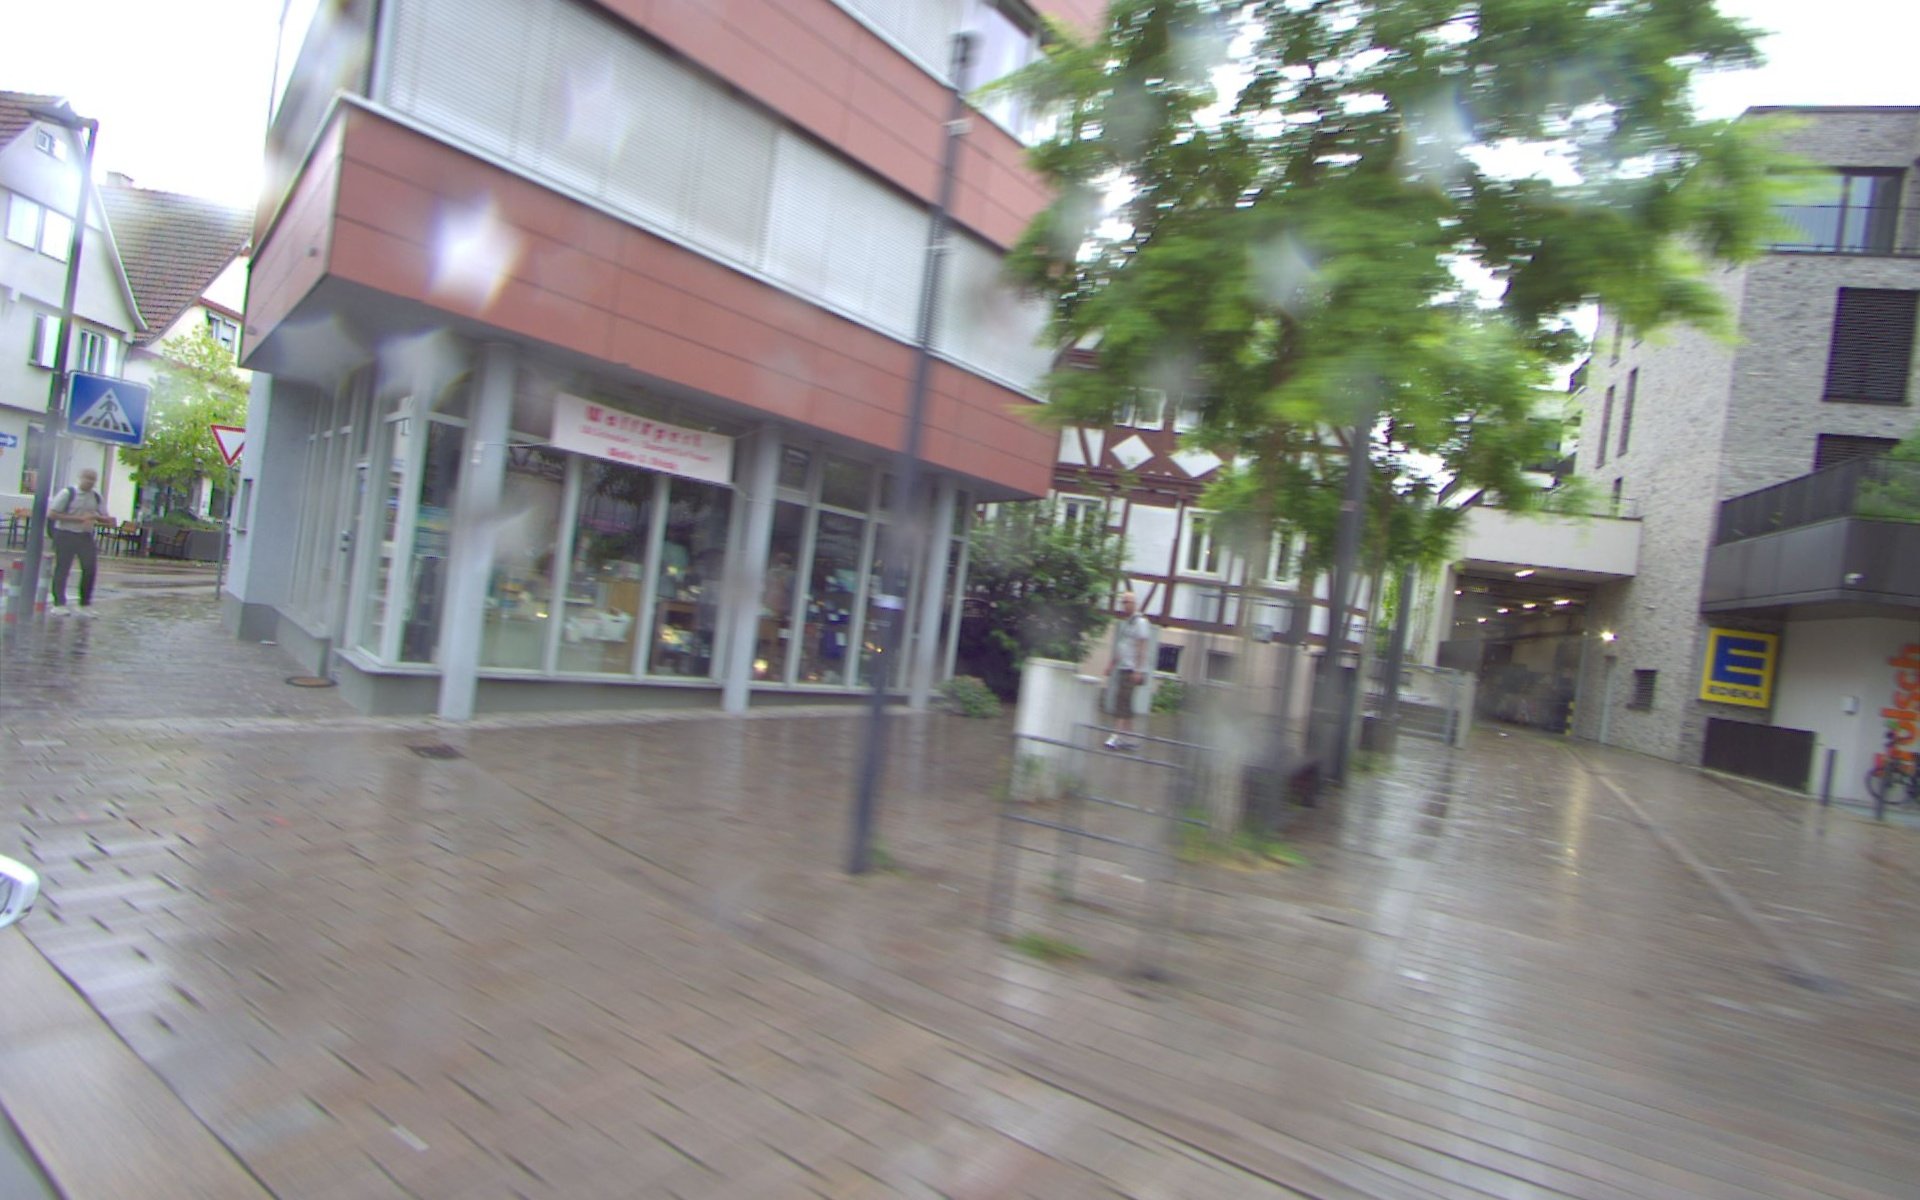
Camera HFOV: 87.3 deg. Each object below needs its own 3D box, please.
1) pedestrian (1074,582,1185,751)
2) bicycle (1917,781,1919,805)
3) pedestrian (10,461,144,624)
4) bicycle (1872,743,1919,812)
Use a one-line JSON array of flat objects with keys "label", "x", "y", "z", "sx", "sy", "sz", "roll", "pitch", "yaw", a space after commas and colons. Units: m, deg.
[{"label": "pedestrian", "x": 1.941, "y": 0.755, "z": 11.514, "sx": 0.842, "sy": 1.808, "sz": 0.699, "roll": 4, "pitch": 3, "yaw": -45}, {"label": "bicycle", "x": 16.956, "y": 3.130, "z": 16.958, "sx": 0.440, "sy": 0.982, "sz": 1.705, "roll": 7, "pitch": 1, "yaw": 19}, {"label": "pedestrian", "x": -11.298, "y": -0.708, "z": 12.905, "sx": 0.848, "sy": 1.938, "sz": 0.757, "roll": 7, "pitch": 0, "yaw": -5}, {"label": "bicycle", "x": 16.411, "y": 3.073, "z": 17.239, "sx": 0.440, "sy": 0.982, "sz": 1.705, "roll": 7, "pitch": 1, "yaw": 19}]
